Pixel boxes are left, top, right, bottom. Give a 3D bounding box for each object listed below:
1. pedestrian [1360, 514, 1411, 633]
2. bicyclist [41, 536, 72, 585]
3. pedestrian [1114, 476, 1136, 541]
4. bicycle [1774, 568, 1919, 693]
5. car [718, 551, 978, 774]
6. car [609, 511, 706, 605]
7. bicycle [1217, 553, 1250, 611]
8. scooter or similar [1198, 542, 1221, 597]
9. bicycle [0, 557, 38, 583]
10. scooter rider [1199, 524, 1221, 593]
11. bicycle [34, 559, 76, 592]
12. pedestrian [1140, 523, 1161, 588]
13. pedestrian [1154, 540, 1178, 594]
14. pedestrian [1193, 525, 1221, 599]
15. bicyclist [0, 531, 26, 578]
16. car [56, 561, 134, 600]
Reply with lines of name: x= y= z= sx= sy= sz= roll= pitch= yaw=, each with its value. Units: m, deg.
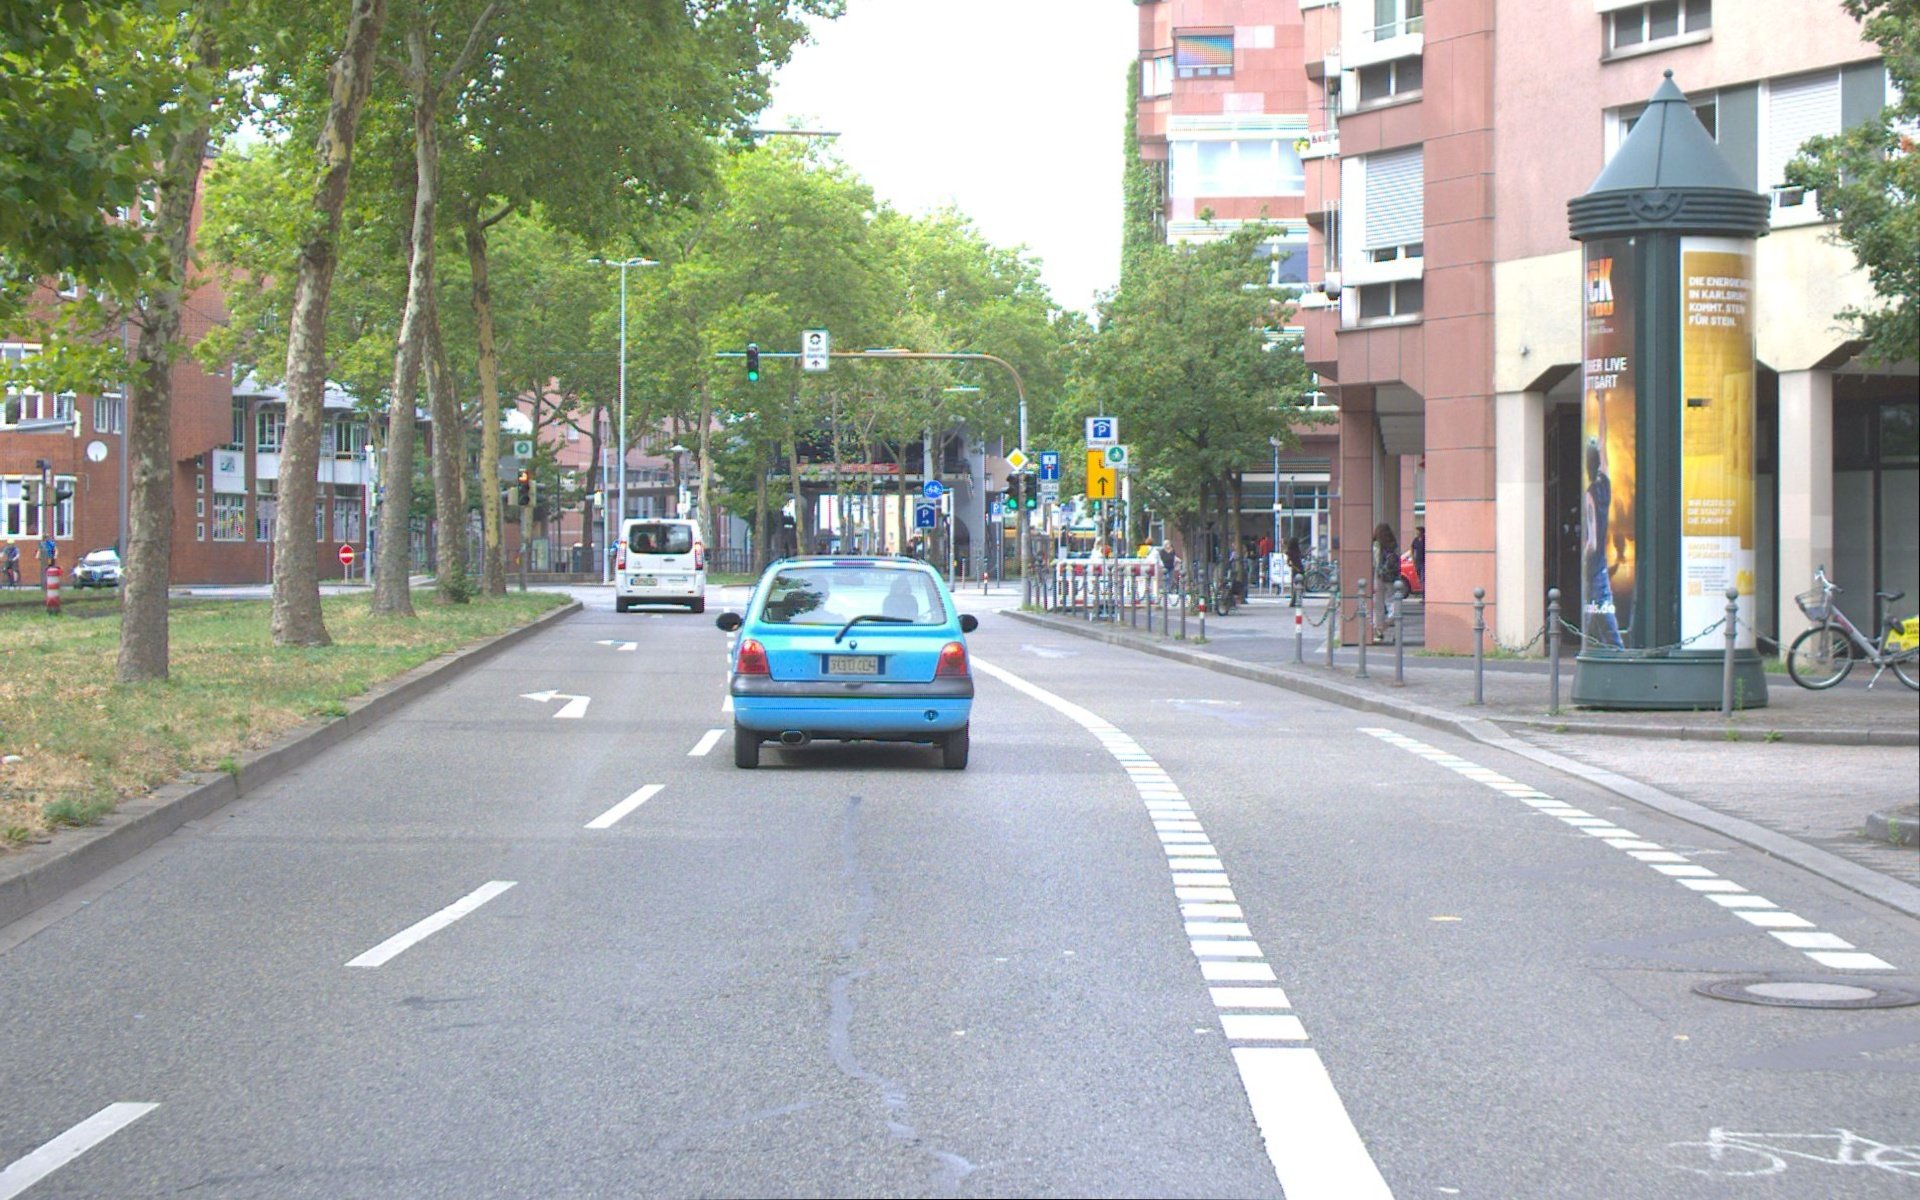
pedestrian: x=5.910 y=-0.371 z=47.719 sx=0.544 sy=1.644 sz=0.824 roll=0 pitch=1 yaw=18
bicyclist: x=-30.606 y=-1.340 z=116.476 sx=0.690 sy=1.667 sz=0.953 roll=0 pitch=1 yaw=8
pedestrian: x=4.072 y=-2.255 z=84.858 sx=0.517 sy=1.610 sz=0.851 roll=0 pitch=1 yaw=1
bicycle: x=8.424 y=0.277 z=31.683 sx=1.663 sy=1.125 sz=0.669 roll=0 pitch=1 yaw=38
car: x=-0.826 y=0.375 z=23.886 sx=1.640 sy=1.381 sz=3.843 roll=1 pitch=1 yaw=-3
car: x=-6.334 y=-0.905 z=72.371 sx=1.931 sy=1.919 sz=4.956 roll=0 pitch=1 yaw=-4
bicycle: x=5.379 y=-0.358 z=67.598 sx=0.612 sy=1.114 sz=1.804 roll=0 pitch=1 yaw=4
scooter or similar: x=5.599 y=-0.689 z=77.179 sx=0.474 sy=1.202 sz=1.330 roll=0 pitch=1 yaw=2
bicycle: x=-31.790 y=-0.998 z=114.547 sx=1.982 sy=0.833 sz=0.579 roll=0 pitch=1 yaw=-40
scooter rider: x=5.589 y=-0.929 z=76.853 sx=0.460 sy=1.552 sz=0.565 roll=0 pitch=1 yaw=0
bicycle: x=-30.628 y=-0.843 z=116.371 sx=0.691 sy=1.088 sz=1.876 roll=0 pitch=1 yaw=9
pedestrian: x=4.704 y=-1.099 z=84.938 sx=0.517 sy=1.610 sz=0.851 roll=0 pitch=1 yaw=3
pedestrian: x=5.967 y=-0.954 z=99.530 sx=0.675 sy=1.533 sz=0.947 roll=0 pitch=1 yaw=4
pedestrian: x=6.193 y=-0.952 z=86.118 sx=0.676 sy=1.822 sz=0.851 roll=0 pitch=1 yaw=3
bicyclist: x=-31.741 y=-1.509 z=114.587 sx=1.031 sy=1.557 sz=0.582 roll=0 pitch=1 yaw=-40
car: x=-28.440 y=-0.650 z=113.112 sx=1.729 sy=1.241 sz=4.535 roll=0 pitch=1 yaw=-4
